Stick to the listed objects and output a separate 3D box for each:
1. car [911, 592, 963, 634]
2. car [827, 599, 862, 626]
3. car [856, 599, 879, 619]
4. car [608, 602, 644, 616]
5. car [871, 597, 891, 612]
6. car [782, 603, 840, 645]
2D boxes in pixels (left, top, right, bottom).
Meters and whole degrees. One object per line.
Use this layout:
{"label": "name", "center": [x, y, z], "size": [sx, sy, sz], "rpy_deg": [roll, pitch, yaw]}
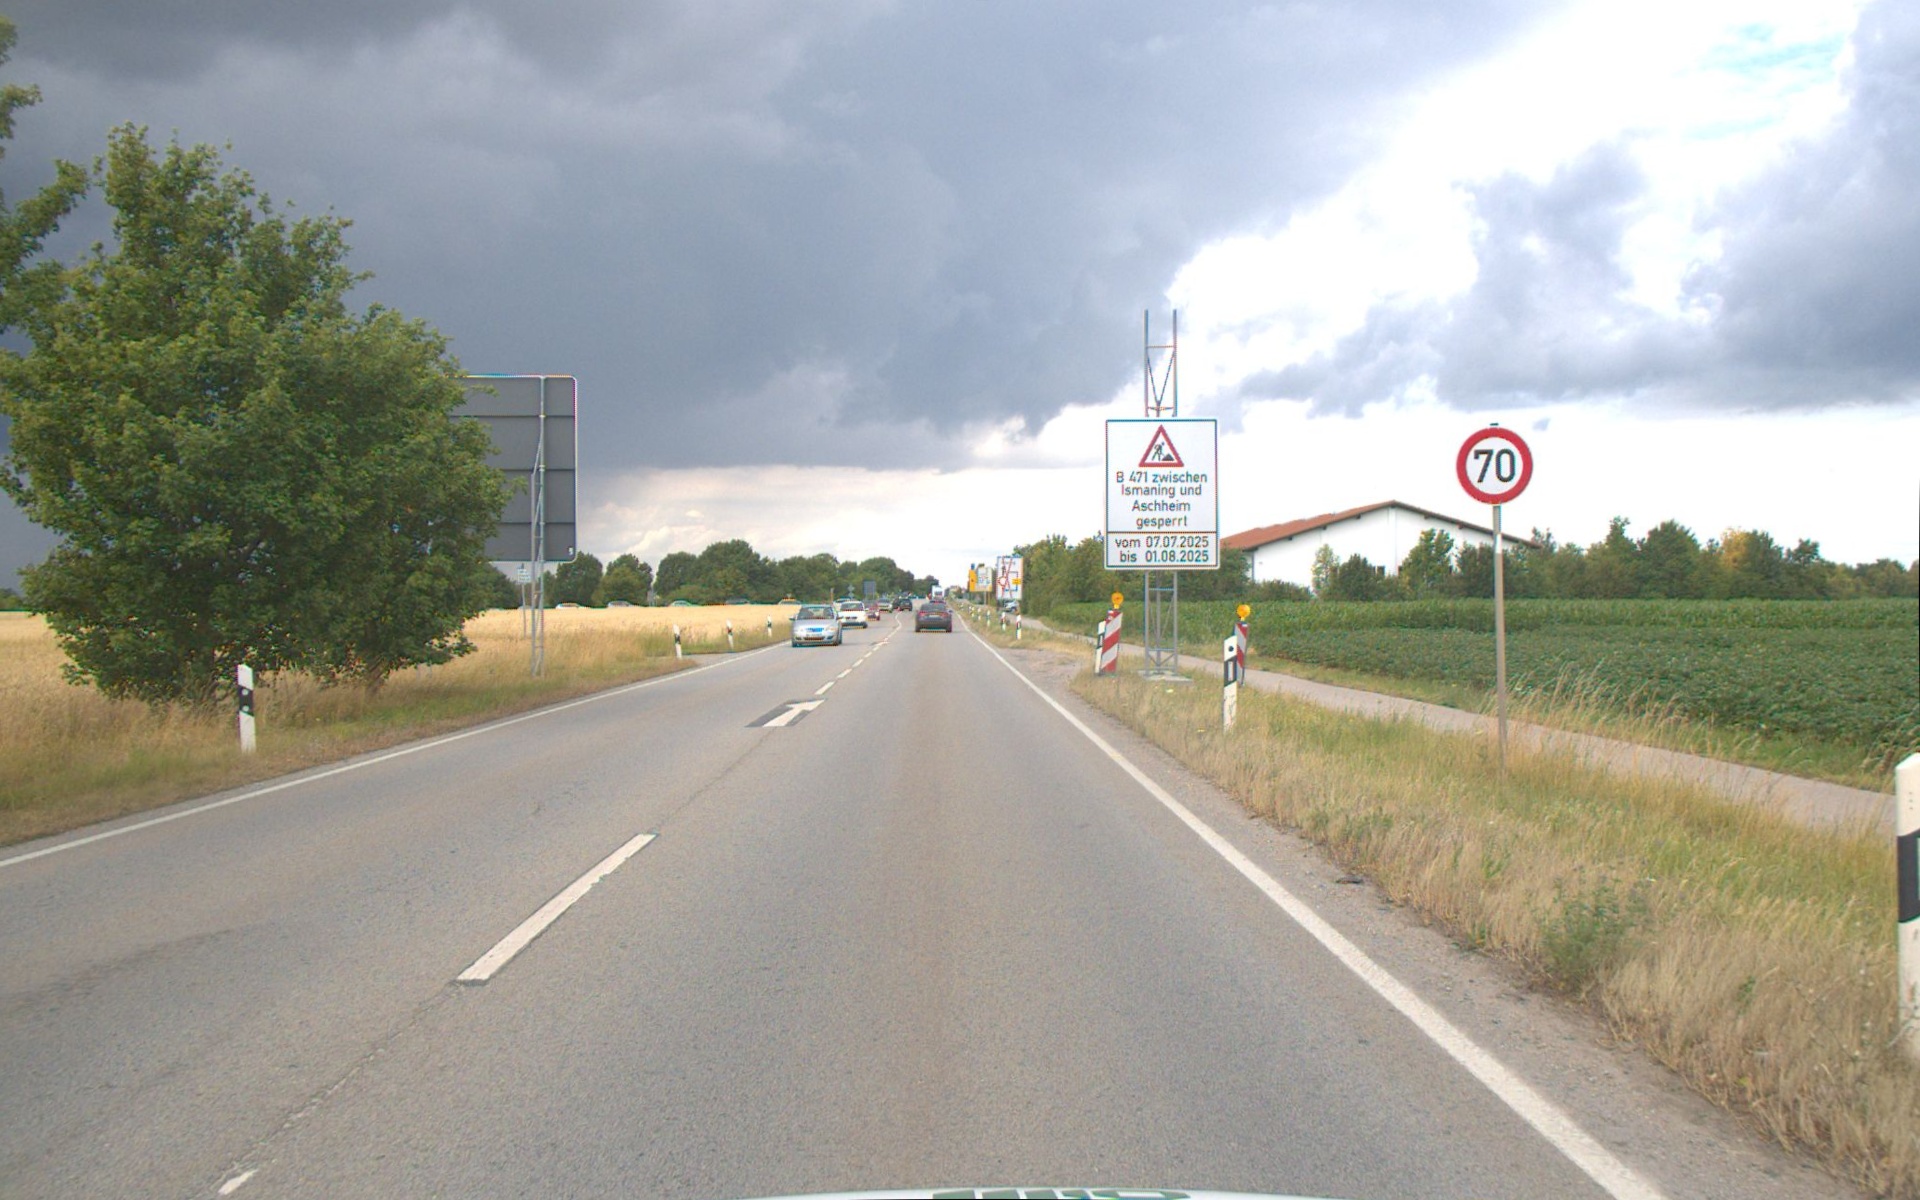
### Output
{"label": "car", "center": [-1.172, 0.630, 81.670], "size": [2.325, 1.913, 4.475], "rpy_deg": [-2, 0, -3]}
{"label": "car", "center": [-6.558, 0.703, 94.492], "size": [1.769, 1.482, 4.112], "rpy_deg": [-1, 0, -1]}
{"label": "car", "center": [-7.447, 0.701, 133.265], "size": [1.677, 1.514, 4.607], "rpy_deg": [-1, 0, -1]}
{"label": "car", "center": [-41.364, 1.055, 204.819], "size": [3.986, 1.678, 1.867], "rpy_deg": [-1, 0, 3]}
{"label": "car", "center": [-8.911, 0.495, 186.338], "size": [2.023, 1.608, 4.764], "rpy_deg": [-2, 0, -1]}
{"label": "car", "center": [-5.156, 0.804, 57.513], "size": [1.693, 1.387, 3.949], "rpy_deg": [-1, 0, -1]}
